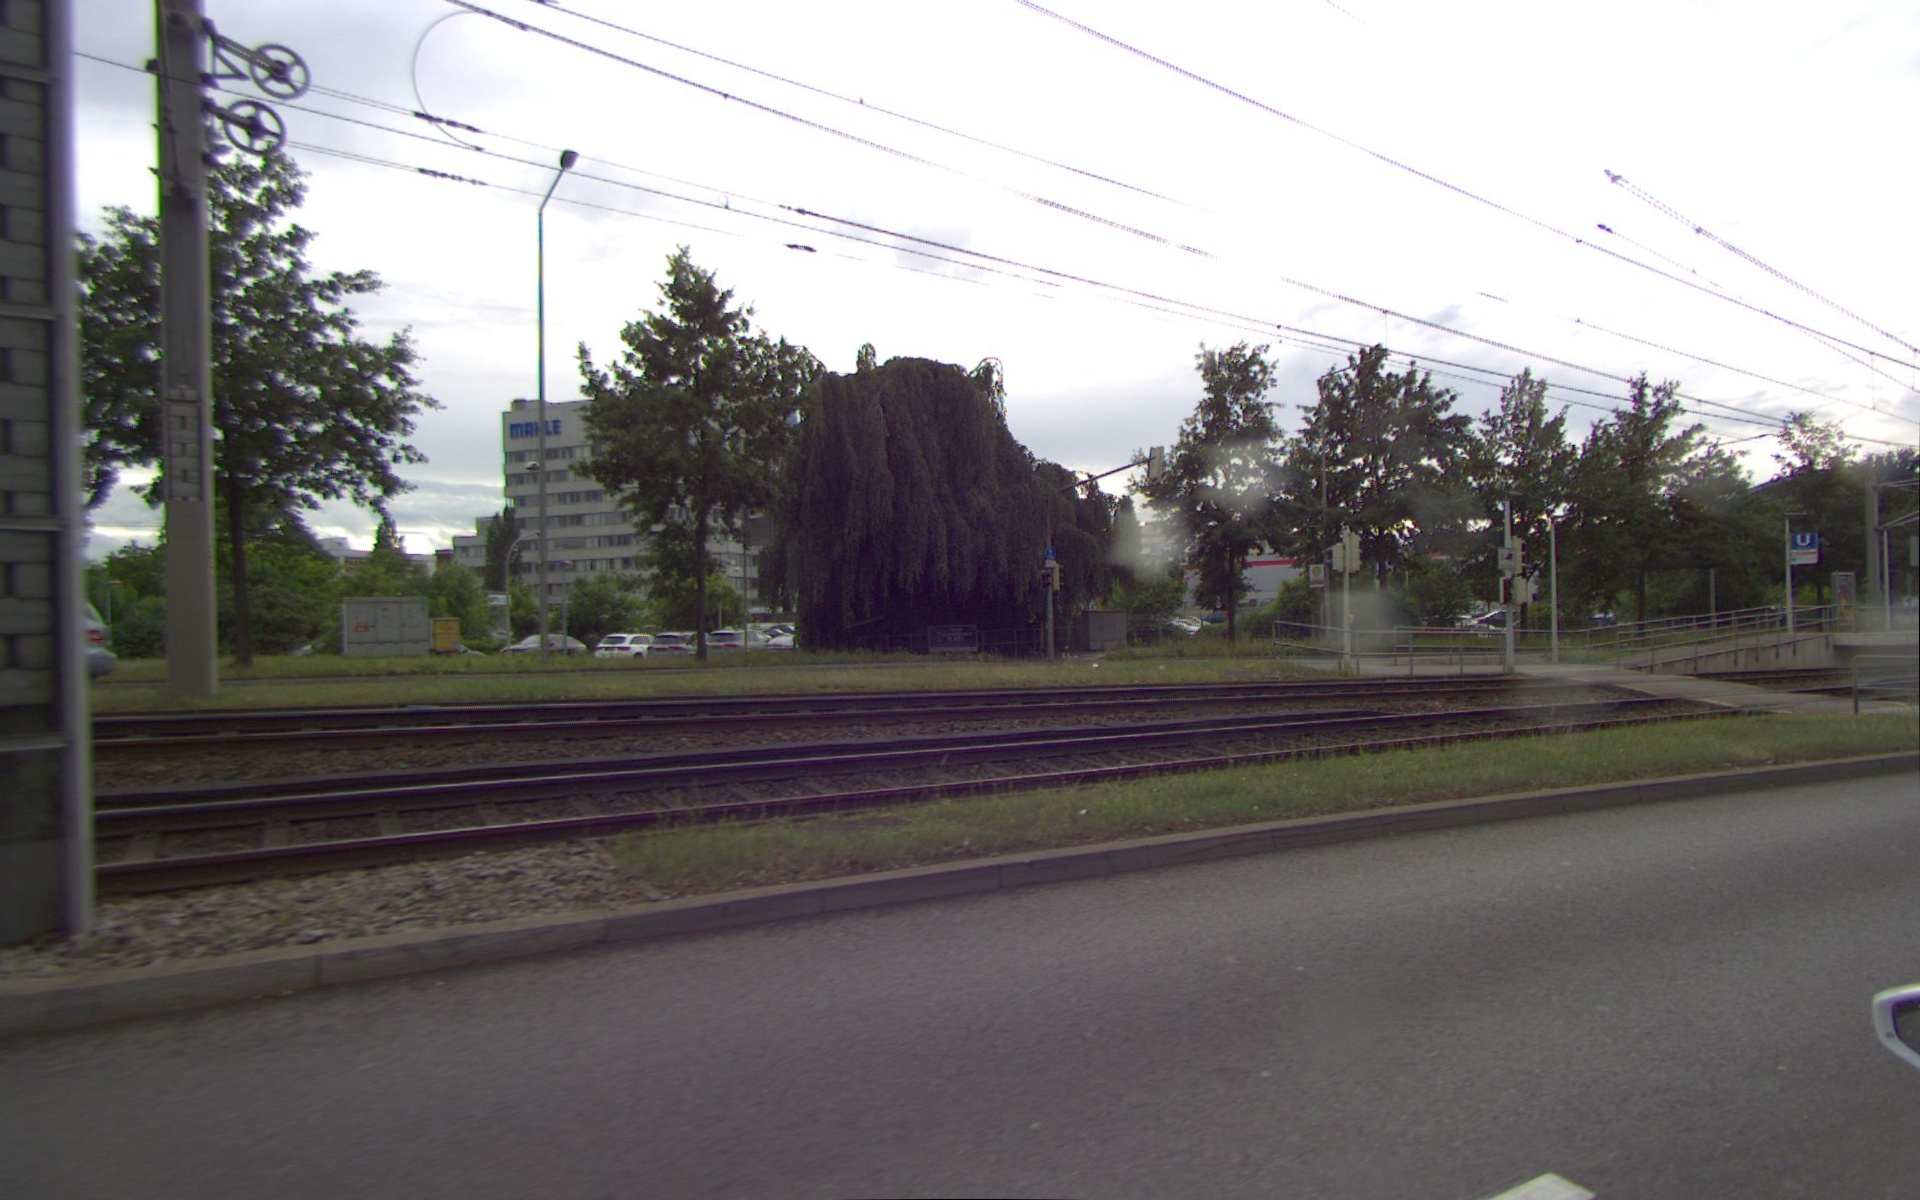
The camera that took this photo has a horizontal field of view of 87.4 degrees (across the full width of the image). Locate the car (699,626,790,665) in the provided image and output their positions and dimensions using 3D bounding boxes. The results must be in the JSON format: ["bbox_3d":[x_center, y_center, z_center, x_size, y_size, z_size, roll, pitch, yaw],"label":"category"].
[{"bbox_3d":[-9.336,1.978,43.820,1.725,1.514,3.995,2,-1,27],"label":"car"}]

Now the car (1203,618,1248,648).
[{"bbox_3d":[14.160,1.764,53.443,1.961,1.433,4.001,2,-1,20],"label":"car"}]

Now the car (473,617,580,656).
[{"bbox_3d":[-18.909,1.609,43.989,1.962,1.530,3.999,2,-1,23],"label":"car"}]

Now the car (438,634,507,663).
[{"bbox_3d":[-32.101,3.162,66.150,3.639,1.696,2.000,2,-1,19],"label":"car"}]

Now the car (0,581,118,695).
[{"bbox_3d":[-15.517,0.550,15.333,3.964,1.702,1.978,1,0,-38],"label":"car"}]

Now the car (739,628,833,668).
[{"bbox_3d":[-7.154,1.974,41.727,1.962,1.530,3.999,2,-1,23],"label":"car"}]

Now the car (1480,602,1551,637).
[{"bbox_3d":[34.635,1.202,62.620,3.948,2.040,1.987,2,-1,-27],"label":"car"}]

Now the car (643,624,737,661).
[{"bbox_3d":[-11.881,1.879,44.400,1.725,1.514,3.995,2,-1,27],"label":"car"}]

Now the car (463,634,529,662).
[{"bbox_3d":[-31.509,3.235,68.183,3.639,1.696,2.000,2,-1,19],"label":"car"}]

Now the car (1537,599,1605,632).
[{"bbox_3d":[39.419,0.972,64.824,3.948,2.040,1.987,0,0,-27],"label":"car"}]

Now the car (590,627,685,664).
[{"bbox_3d":[-14.529,2.055,45.501,1.725,1.514,3.995,2,-1,27],"label":"car"}]

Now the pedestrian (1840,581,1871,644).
[{"bbox_3d":[28.831,0.405,32.341,0.657,1.978,0.546,3,-1,-33],"label":"pedestrian"}]

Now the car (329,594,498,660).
[{"bbox_3d":[-15.515,0.777,28.568,3.963,1.672,1.979,3,-2,-37],"label":"car"}]

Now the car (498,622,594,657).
[{"bbox_3d":[-19.504,1.863,47.516,1.725,1.514,3.995,2,-1,27],"label":"car"}]
